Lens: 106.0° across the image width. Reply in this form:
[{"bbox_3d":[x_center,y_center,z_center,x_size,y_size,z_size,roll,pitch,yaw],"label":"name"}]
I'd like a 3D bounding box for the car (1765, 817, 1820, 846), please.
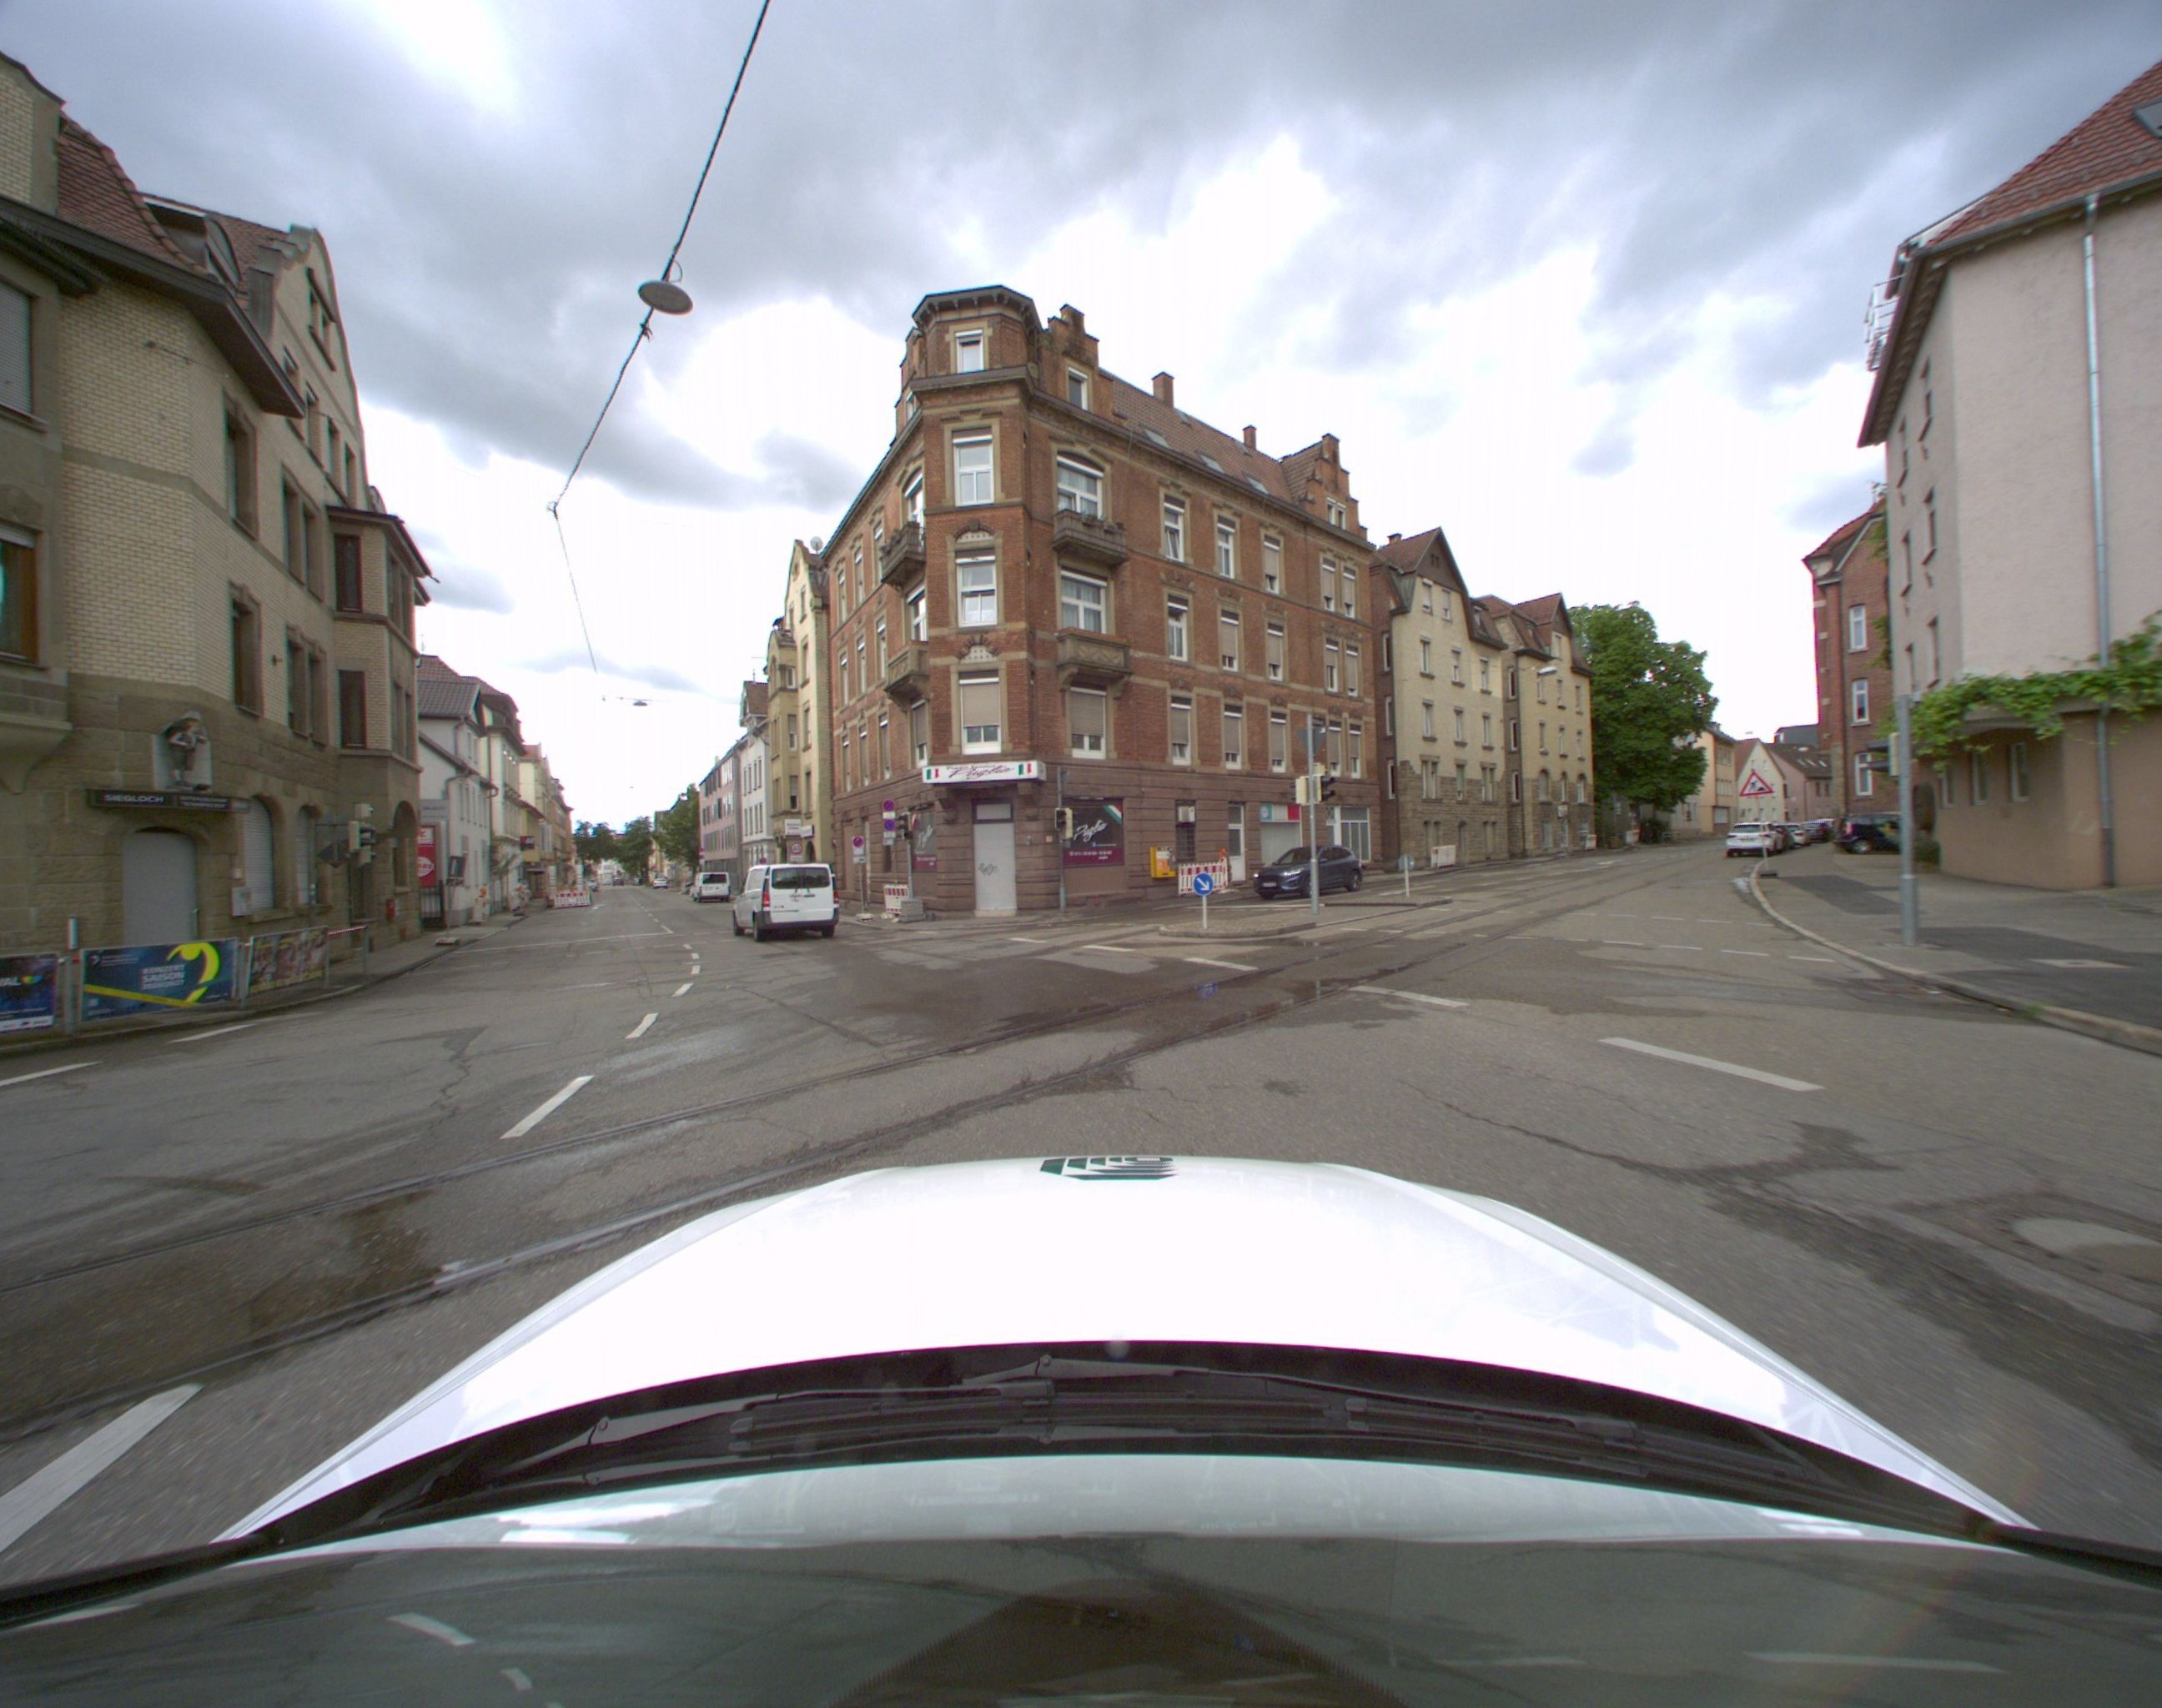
[{"bbox_3d":[40.659,-1.299,46.505,4.022,1.462,1.794,-2,-3,-41],"label":"car"}]

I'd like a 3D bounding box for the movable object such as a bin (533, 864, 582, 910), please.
[{"bbox_3d":[-35.908,2.250,55.970,2.554,2.825,4.493,-4,0,-31],"label":"movable object such as a bin"}]

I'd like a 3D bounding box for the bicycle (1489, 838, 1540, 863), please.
[{"bbox_3d":[26.413,-0.199,49.645,0.637,1.306,2.567,-2,-2,-43],"label":"bicycle"}]

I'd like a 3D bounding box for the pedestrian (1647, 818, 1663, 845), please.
[{"bbox_3d":[45.278,-1.766,64.222,0.758,2.014,0.757,-2,-2,-44],"label":"pedestrian"}]

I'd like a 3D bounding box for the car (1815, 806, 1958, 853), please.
[{"bbox_3d":[33.031,-0.972,33.554,3.872,1.552,1.883,-5,-2,37],"label":"car"}]

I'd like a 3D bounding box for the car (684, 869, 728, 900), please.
[{"bbox_3d":[-25.763,2.078,55.858,2.143,2.005,4.876,0,-2,-32],"label":"car"}]

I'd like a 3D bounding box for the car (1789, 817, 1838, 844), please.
[{"bbox_3d":[49.143,-1.571,54.582,3.840,1.663,1.946,-3,2,-41],"label":"car"}]

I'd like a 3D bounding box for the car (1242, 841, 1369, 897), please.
[{"bbox_3d":[7.483,0.477,26.933,4.310,1.515,1.975,-3,-2,-43],"label":"car"}]

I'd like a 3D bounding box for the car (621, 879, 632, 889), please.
[{"bbox_3d":[-98.392,6.436,176.172,2.006,2.014,3.962,-2,-1,-29],"label":"car"}]

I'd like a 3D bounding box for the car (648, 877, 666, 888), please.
[{"bbox_3d":[-60.659,4.083,116.482,2.006,1.486,3.960,2,-3,-31],"label":"car"}]

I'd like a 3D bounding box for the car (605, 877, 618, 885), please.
[{"bbox_3d":[-100.071,5.798,173.644,2.004,1.618,3.965,-3,-1,-26],"label":"car"}]

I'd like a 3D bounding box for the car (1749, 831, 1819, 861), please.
[{"bbox_3d":[36.736,-0.441,42.524,4.020,1.288,1.977,-2,-3,-39],"label":"car"}]

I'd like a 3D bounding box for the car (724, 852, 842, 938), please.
[{"bbox_3d":[-7.920,1.089,21.353,1.905,1.929,4.596,-2,-2,-33],"label":"car"}]

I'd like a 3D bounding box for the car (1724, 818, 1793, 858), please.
[{"bbox_3d":[32.658,-0.788,39.223,4.022,1.718,1.932,-2,-3,-42],"label":"car"}]

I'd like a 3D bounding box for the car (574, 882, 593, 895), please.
[{"bbox_3d":[-68.393,4.732,111.954,2.007,1.742,3.959,3,-3,-32],"label":"car"}]
